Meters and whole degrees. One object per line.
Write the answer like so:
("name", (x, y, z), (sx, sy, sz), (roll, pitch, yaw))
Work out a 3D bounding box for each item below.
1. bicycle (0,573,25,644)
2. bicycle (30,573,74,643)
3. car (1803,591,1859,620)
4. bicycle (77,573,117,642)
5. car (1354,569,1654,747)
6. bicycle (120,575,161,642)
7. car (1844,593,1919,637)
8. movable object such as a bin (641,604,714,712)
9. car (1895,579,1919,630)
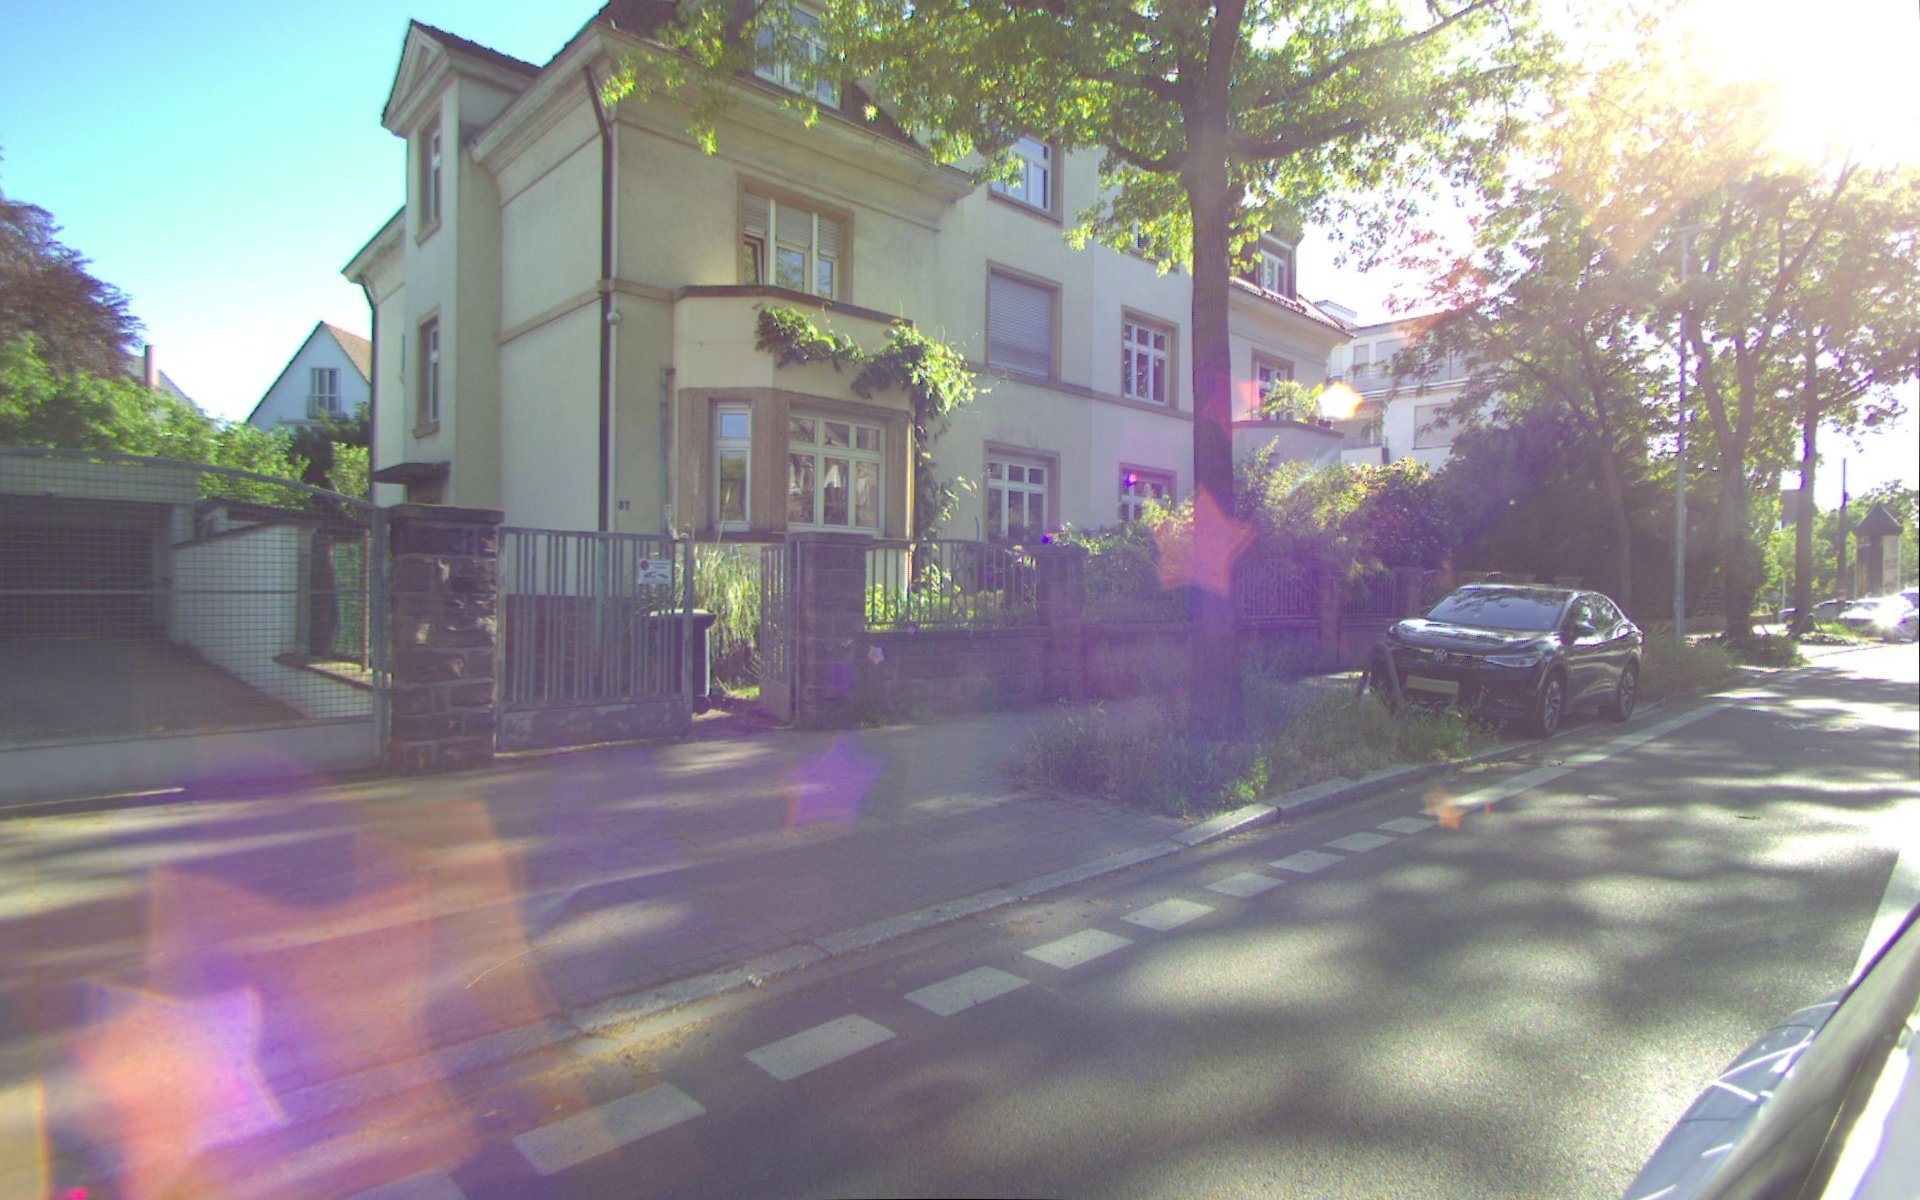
("bicycle", (-15.763, 0.132, 16.649), (0.512, 1.136, 1.464), (0, 0, -41))
("bicycle", (-15.265, 0.126, 17.031), (0.512, 1.136, 1.464), (0, 0, -41))
("car", (47.042, 0.277, 54.625), (3.930, 1.460, 1.739), (-1, 1, -41))
("bicycle", (-14.839, 0.120, 17.400), (0.512, 1.136, 1.464), (0, 0, -41))
("car", (6.645, 0.547, 12.173), (4.101, 1.765, 1.995), (-1, 1, -43))
("bicycle", (-14.356, 0.135, 17.721), (0.512, 1.136, 1.464), (0, 0, -41))
("car", (31.484, 0.468, 34.259), (3.847, 1.356, 1.719), (-1, 0, -39))
("movable object such as a bin", (-3.014, 0.590, 10.781), (0.712, 1.068, 0.969), (0, 0, -17))
("car", (36.670, 0.145, 37.830), (4.171, 1.852, 1.904), (-1, 0, -38))
